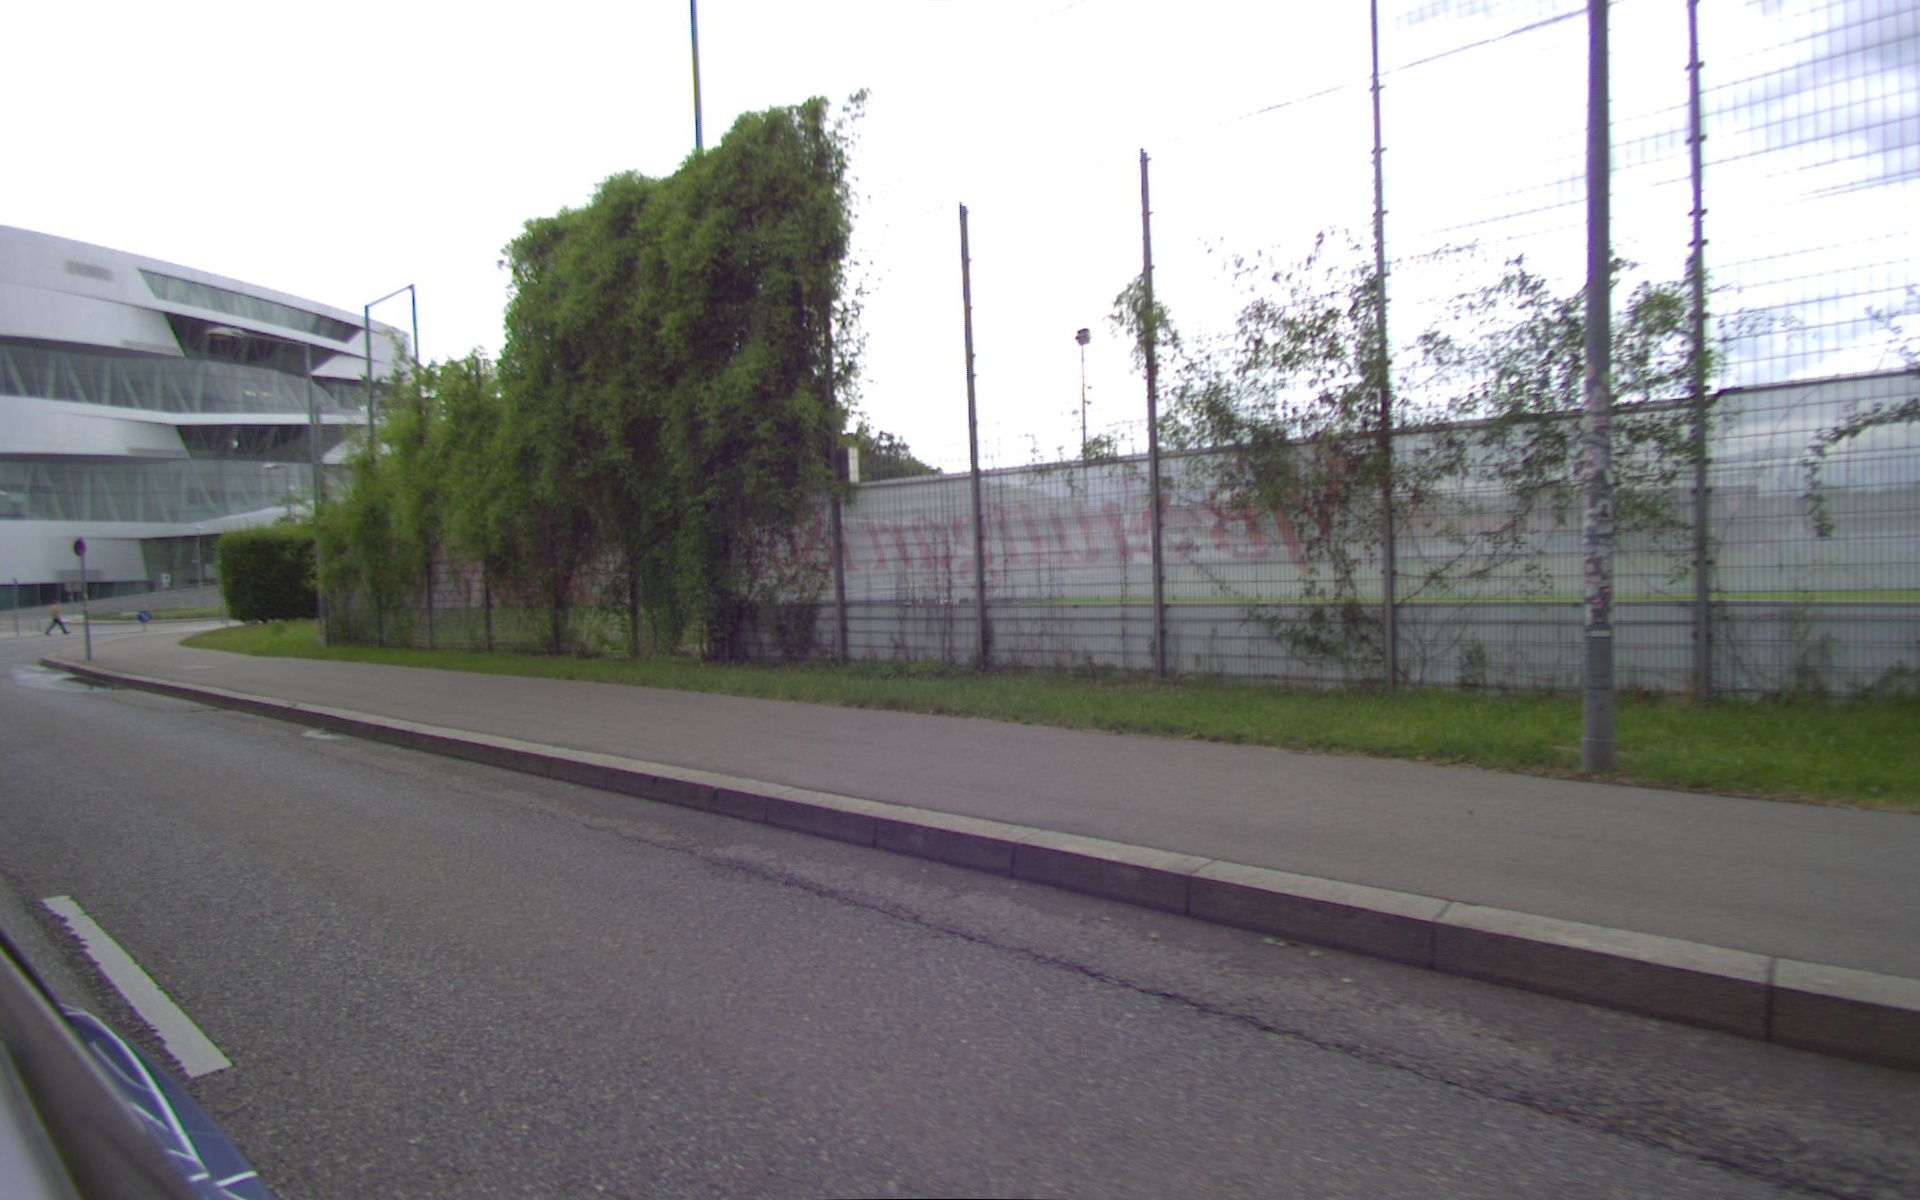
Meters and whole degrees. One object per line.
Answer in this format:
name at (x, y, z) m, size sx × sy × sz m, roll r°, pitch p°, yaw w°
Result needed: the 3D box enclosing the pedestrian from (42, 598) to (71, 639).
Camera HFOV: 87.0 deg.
pedestrian at (-46.783, 0.954, 52.419) m, size 1.023 × 2.029 × 0.786 m, roll -3°, pitch 0°, yaw -41°
